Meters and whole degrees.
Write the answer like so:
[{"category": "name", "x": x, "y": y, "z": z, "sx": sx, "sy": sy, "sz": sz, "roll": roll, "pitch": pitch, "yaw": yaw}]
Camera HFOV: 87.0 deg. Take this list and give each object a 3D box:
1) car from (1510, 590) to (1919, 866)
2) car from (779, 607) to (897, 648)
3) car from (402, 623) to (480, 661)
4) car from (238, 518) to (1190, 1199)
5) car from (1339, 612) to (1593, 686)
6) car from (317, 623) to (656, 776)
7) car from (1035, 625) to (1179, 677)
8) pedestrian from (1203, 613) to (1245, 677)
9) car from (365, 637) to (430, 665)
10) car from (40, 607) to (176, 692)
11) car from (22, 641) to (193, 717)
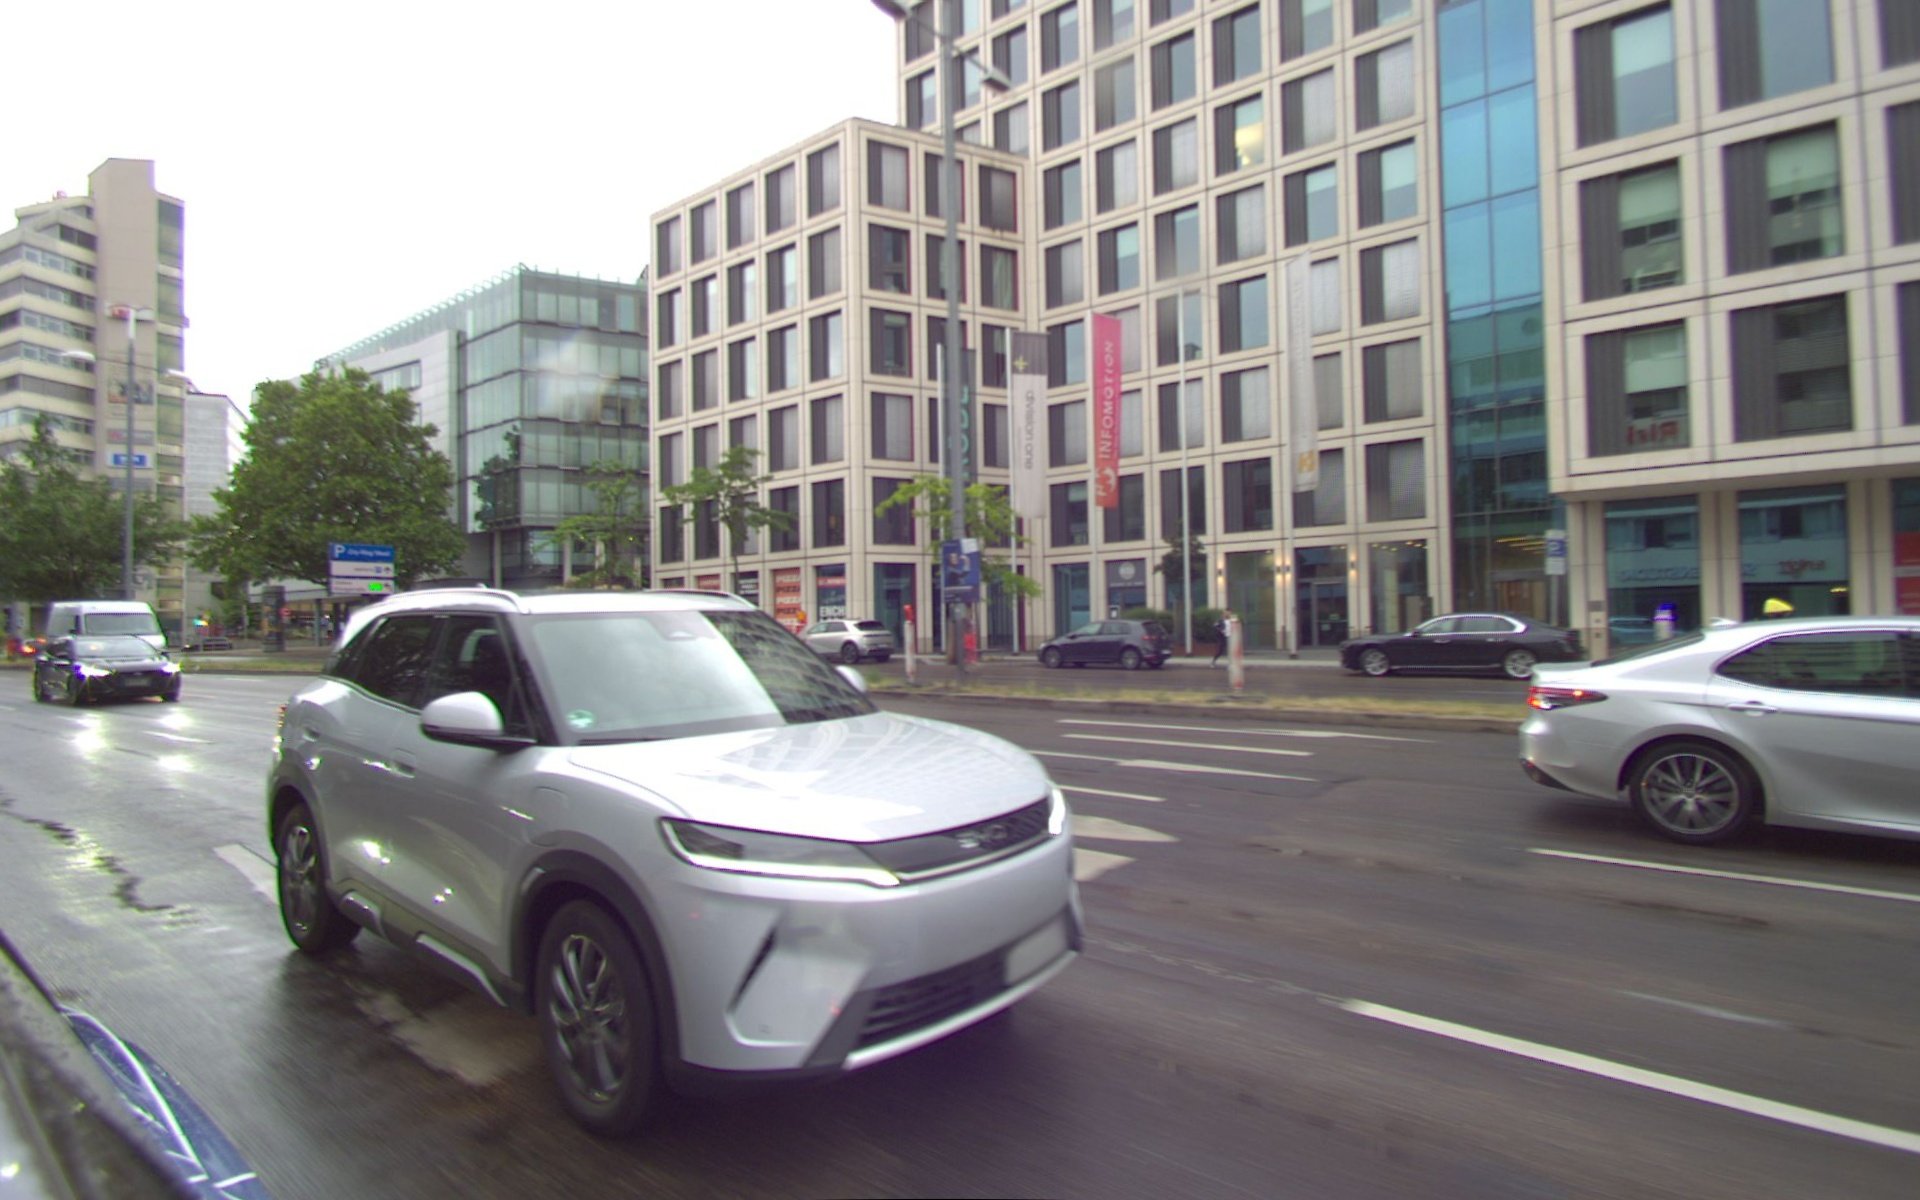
[{"category": "car", "x": 6.194, "y": 0.701, "z": 6.063, "sx": 4.799, "sy": 1.533, "sz": 1.811, "roll": -1, "pitch": -1, "yaw": 42}, {"category": "car", "x": -4.522, "y": 1.039, "z": 37.164, "sx": 4.366, "sy": 1.435, "sz": 1.682, "roll": -2, "pitch": -3, "yaw": 37}, {"category": "car", "x": -29.303, "y": 2.354, "z": 57.061, "sx": 4.907, "sy": 2.029, "sz": 1.975, "roll": -1, "pitch": -1, "yaw": 37}, {"category": "car", "x": -1.364, "y": 0.699, "z": 4.192, "sx": 4.169, "sy": 1.673, "sz": 1.789, "roll": -1, "pitch": -1, "yaw": 42}, {"category": "car", "x": 11.920, "y": 1.158, "z": 24.054, "sx": 5.175, "sy": 1.581, "sz": 1.682, "roll": -2, "pitch": -3, "yaw": 37}, {"category": "car", "x": -5.648, "y": 1.042, "z": 11.921, "sx": 4.116, "sy": 1.490, "sz": 1.755, "roll": -1, "pitch": -1, "yaw": 34}, {"category": "car", "x": 4.344, "y": 1.511, "z": 30.117, "sx": 3.949, "sy": 1.435, "sz": 1.682, "roll": -2, "pitch": -3, "yaw": 37}, {"category": "pedestrian", "x": 7.423, "y": 1.254, "z": 28.456, "sx": 0.604, "sy": 1.747, "sz": 0.969, "roll": 0, "pitch": -1, "yaw": -34}, {"category": "car", "x": -33.380, "y": 3.010, "z": 60.009, "sx": 4.278, "sy": 1.541, "sz": 1.781, "roll": -1, "pitch": -1, "yaw": 37}, {"category": "car", "x": -26.517, "y": 1.472, "z": 31.419, "sx": 5.713, "sy": 2.403, "sz": 2.231, "roll": -1, "pitch": -1, "yaw": 39}, {"category": "car", "x": -18.546, "y": 1.643, "z": 21.968, "sx": 4.233, "sy": 1.412, "sz": 1.883, "roll": -1, "pitch": -1, "yaw": 36}]
